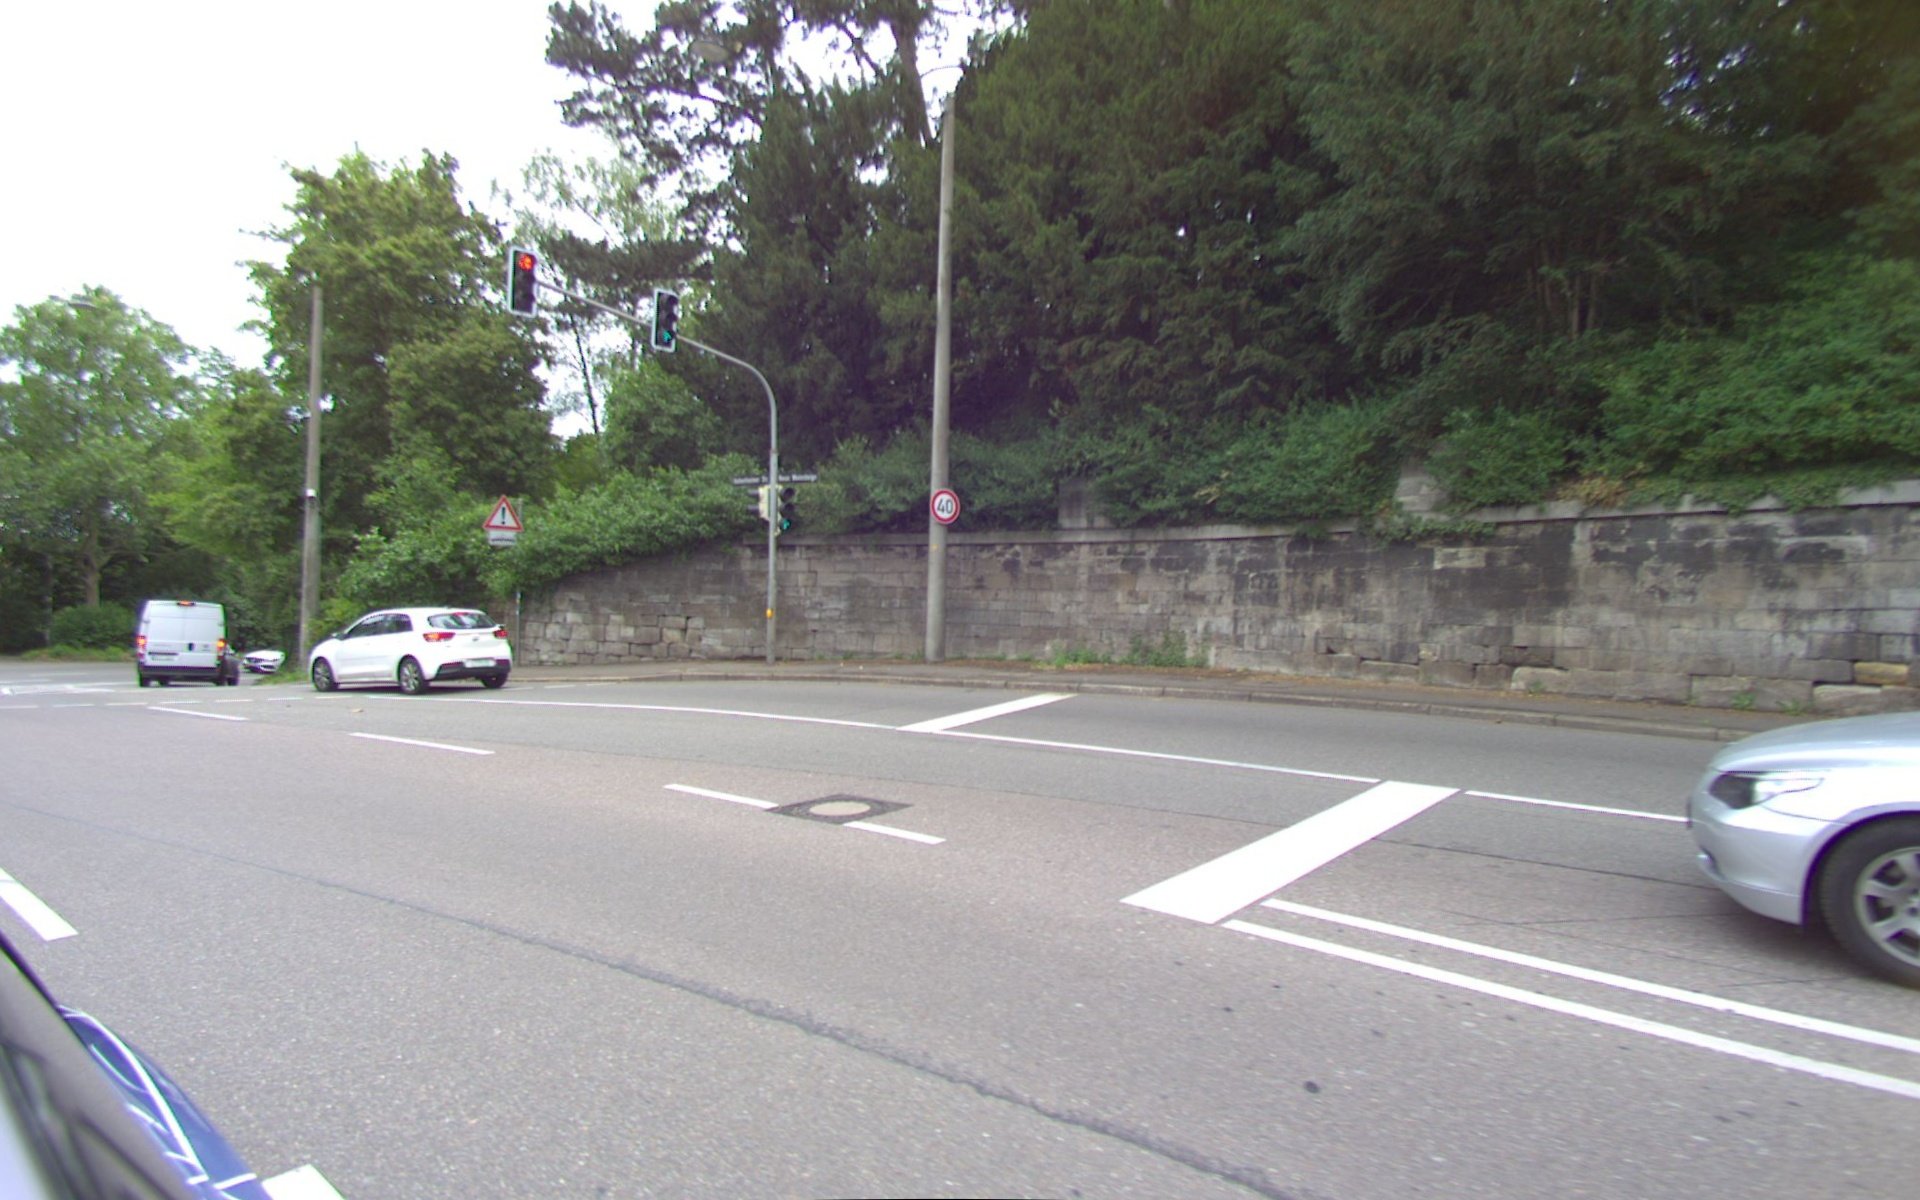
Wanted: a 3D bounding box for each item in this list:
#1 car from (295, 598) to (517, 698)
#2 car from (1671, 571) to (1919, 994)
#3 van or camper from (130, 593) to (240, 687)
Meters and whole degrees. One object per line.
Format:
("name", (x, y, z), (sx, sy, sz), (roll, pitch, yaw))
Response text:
("car", (-9.885, 0.806, 17.992), (4.099, 1.568, 1.624), (-1, 0, 31))
("car", (5.284, 0.614, 3.035), (1.971, 1.481, 4.880), (2, -3, -45))
("van or camper", (-23.504, 1.325, 30.888), (2.172, 2.566, 5.372), (2, -6, -33))
